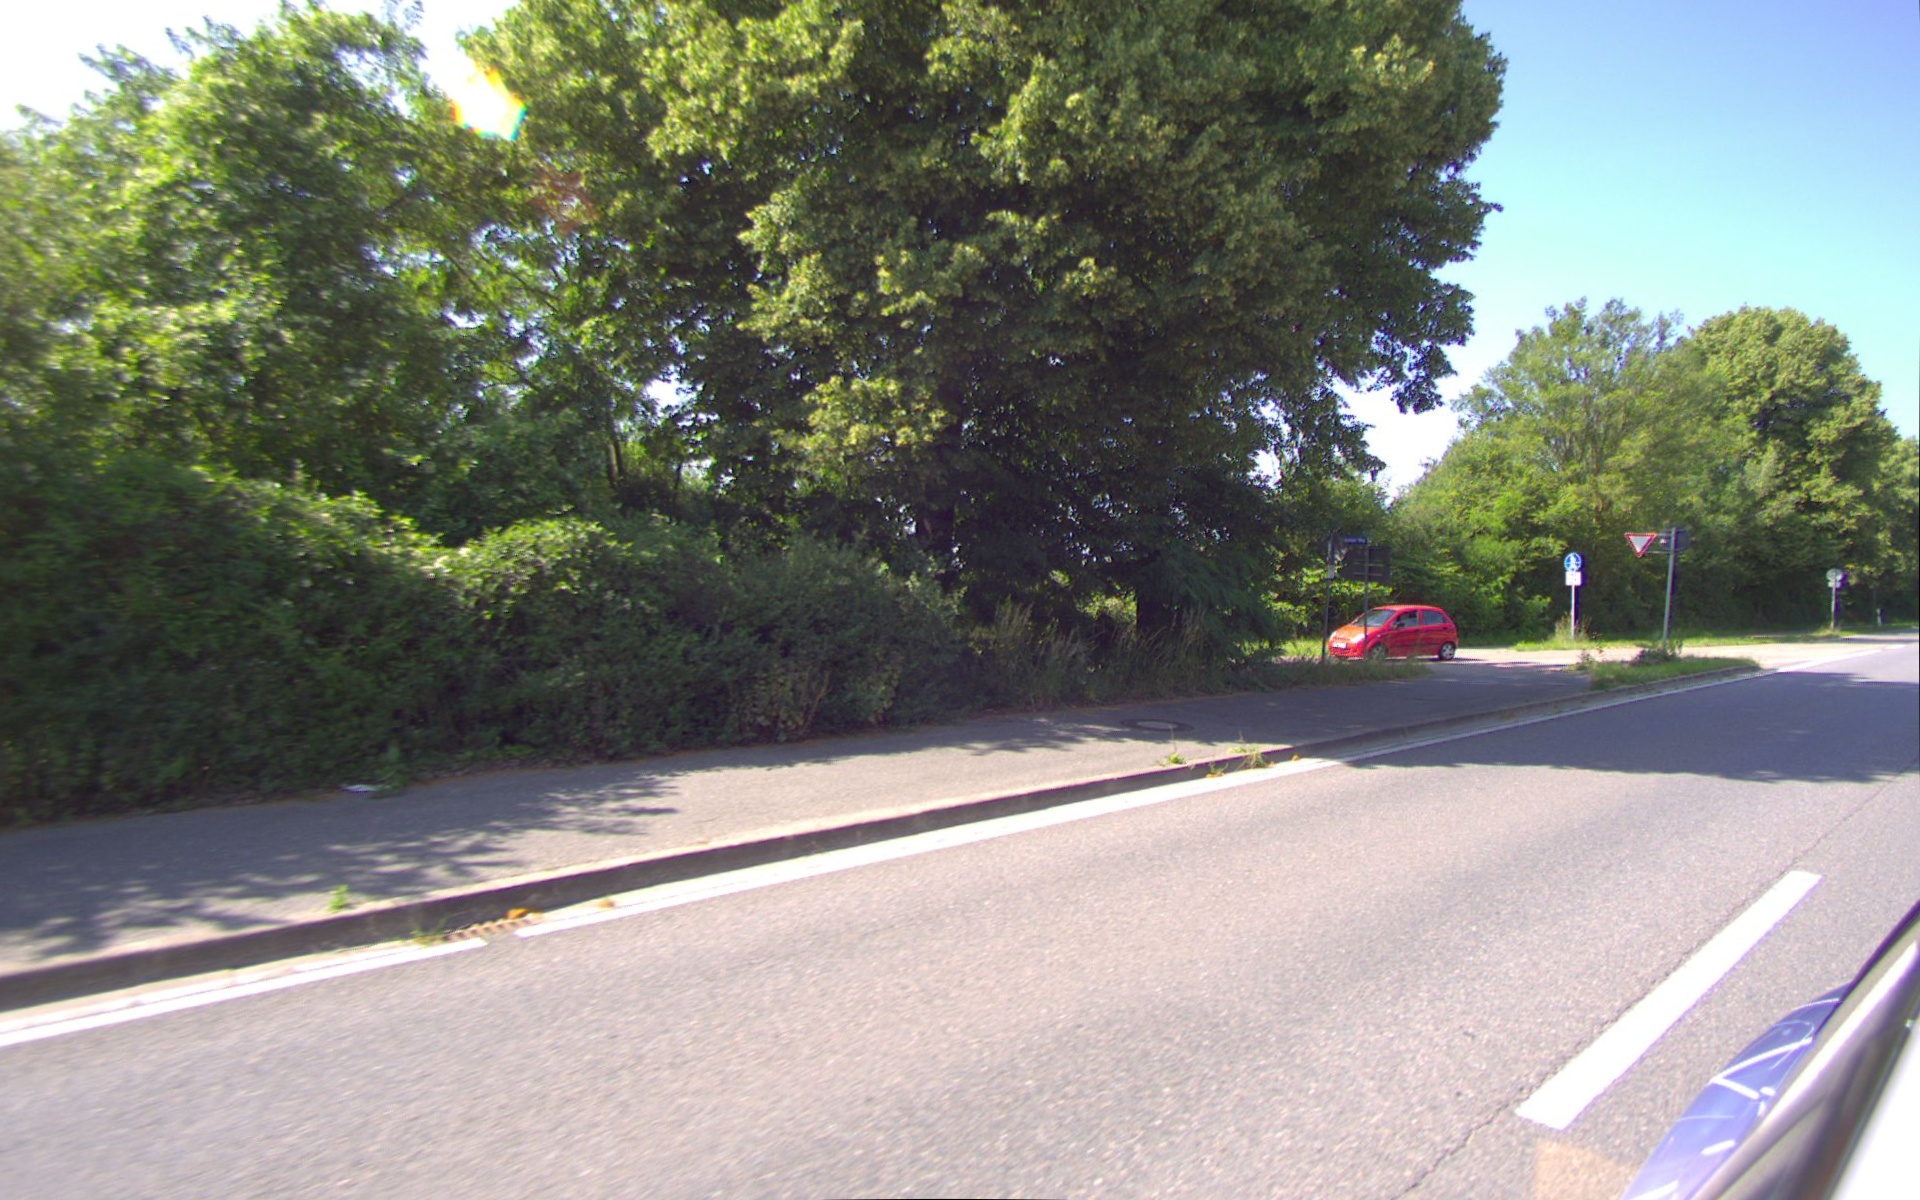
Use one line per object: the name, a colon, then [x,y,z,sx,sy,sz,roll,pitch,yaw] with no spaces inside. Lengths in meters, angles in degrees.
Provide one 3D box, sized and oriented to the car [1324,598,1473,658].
car: [11.735,0.715,27.139,3.493,1.471,1.554,0,0,-18]
